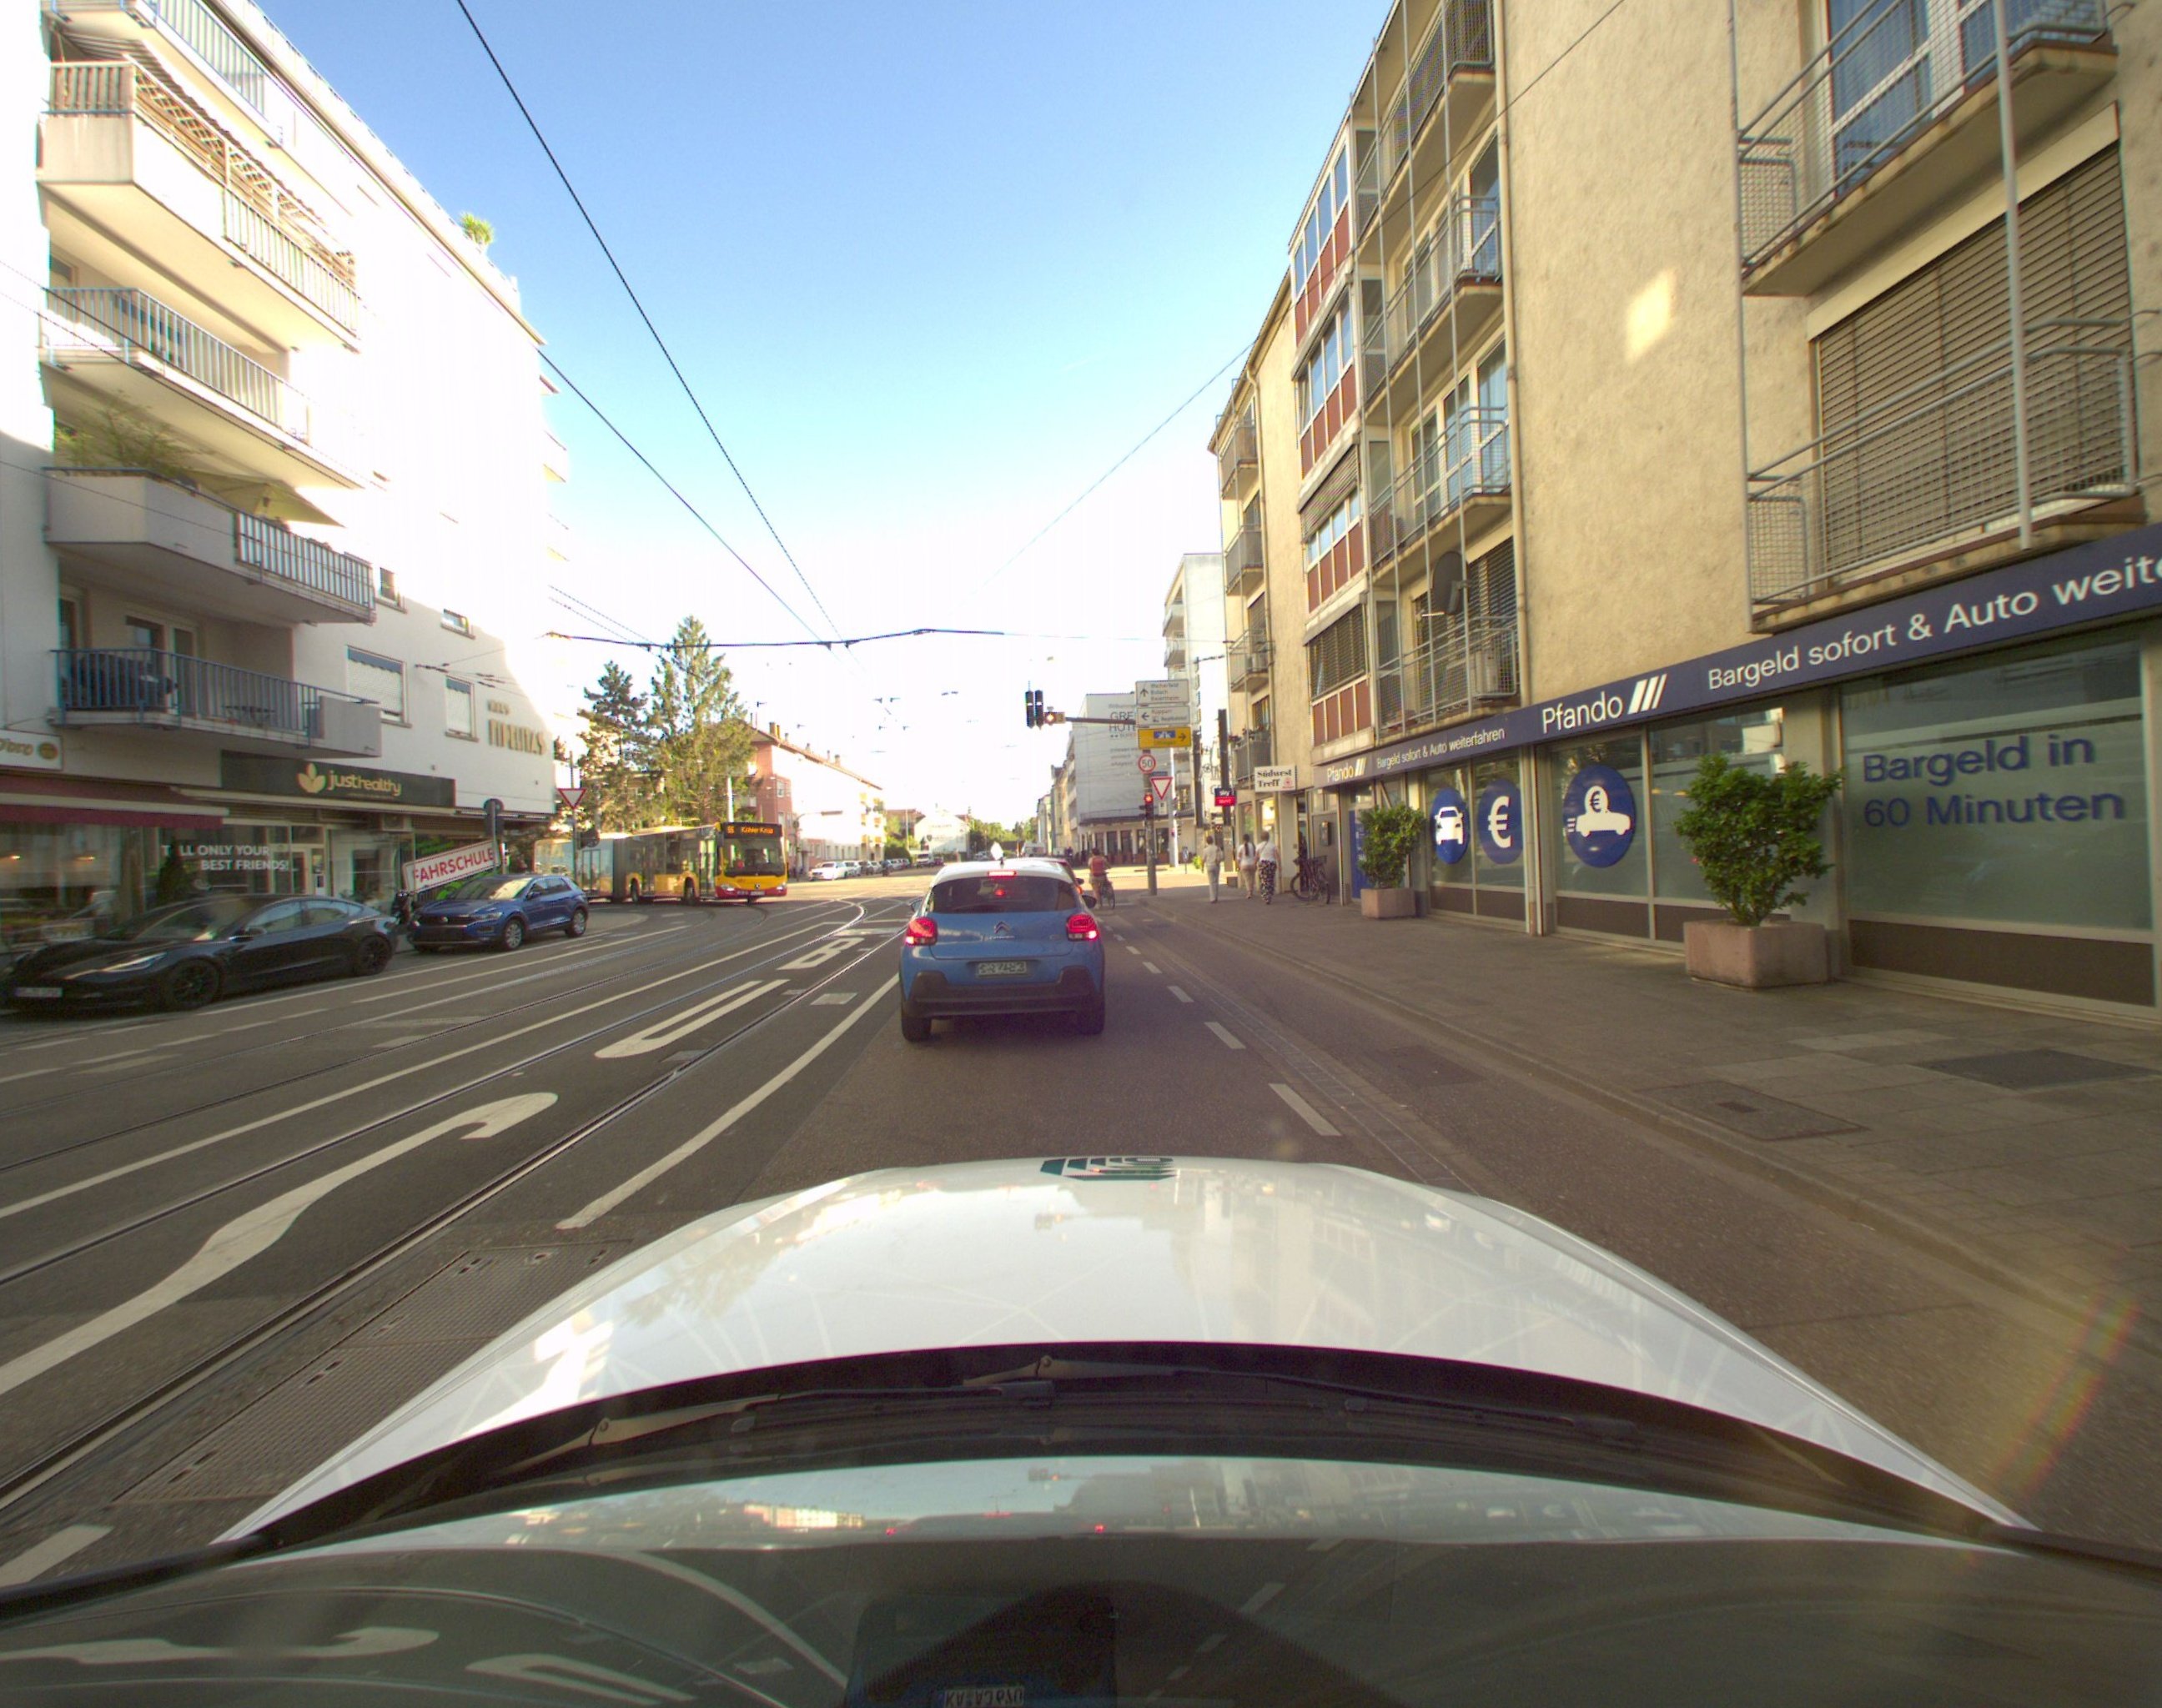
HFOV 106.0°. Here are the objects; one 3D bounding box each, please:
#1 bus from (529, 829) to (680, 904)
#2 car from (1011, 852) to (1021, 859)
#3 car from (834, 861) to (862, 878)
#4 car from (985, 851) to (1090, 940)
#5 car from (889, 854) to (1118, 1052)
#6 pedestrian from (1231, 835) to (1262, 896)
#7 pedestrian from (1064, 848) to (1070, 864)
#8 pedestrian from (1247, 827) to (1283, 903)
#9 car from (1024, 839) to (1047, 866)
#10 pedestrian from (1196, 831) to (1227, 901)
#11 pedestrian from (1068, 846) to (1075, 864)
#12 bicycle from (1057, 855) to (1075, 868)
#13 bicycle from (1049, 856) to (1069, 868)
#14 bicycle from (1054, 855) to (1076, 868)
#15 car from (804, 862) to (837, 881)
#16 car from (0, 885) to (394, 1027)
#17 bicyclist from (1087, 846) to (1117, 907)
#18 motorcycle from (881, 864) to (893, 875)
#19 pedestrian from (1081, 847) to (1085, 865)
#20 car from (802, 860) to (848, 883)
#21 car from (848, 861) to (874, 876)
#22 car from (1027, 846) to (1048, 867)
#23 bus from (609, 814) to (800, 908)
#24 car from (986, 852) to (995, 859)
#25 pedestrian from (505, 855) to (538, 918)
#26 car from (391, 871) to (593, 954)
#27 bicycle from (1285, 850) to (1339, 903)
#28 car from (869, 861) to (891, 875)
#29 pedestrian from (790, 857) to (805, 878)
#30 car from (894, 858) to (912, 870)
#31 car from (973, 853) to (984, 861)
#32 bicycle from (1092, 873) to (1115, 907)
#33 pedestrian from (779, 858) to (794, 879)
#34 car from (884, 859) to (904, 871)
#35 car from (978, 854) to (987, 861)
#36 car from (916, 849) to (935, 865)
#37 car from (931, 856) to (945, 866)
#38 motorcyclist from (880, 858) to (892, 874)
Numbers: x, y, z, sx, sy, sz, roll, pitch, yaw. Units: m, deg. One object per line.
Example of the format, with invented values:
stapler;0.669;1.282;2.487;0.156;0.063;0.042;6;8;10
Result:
bus;-21.984;0.617;37.422;7.479;3.161;2.764;-2;0;33
car;-13.160;0.272;164.667;1.754;1.259;3.822;-2;0;-8
car;-23.085;1.481;80.822;1.908;1.497;3.993;-3;0;-5
car;-0.756;0.693;15.798;1.733;1.420;3.999;-2;0;-1
car;-0.809;0.755;8.280;1.742;1.462;3.991;-1;0;-7
pedestrian;4.237;0.281;20.891;0.540;1.507;0.610;-4;2;-3
pedestrian;-1.398;0.164;79.632;0.491;1.556;0.646;-3;0;-7
pedestrian;4.219;0.251;18.677;0.540;1.672;0.649;-4;0;-3
car;-4.196;-0.126;74.467;1.990;2.325;3.994;-1;0;-4
pedestrian;3.195;0.284;20.002;0.540;1.672;0.623;-4;2;-3
pedestrian;-0.859;0.101;73.475;0.490;1.556;0.383;-3;0;-4
bicycle;-1.248;0.629;68.075;1.498;0.957;0.702;-3;0;0
bicycle;-1.888;0.650;70.481;1.714;0.957;0.702;-3;0;0
bicycle;-1.351;0.631;69.133;1.867;0.957;0.702;-3;0;0
car;-22.480;1.510;70.485;1.909;1.433;3.991;-3;0;-6
car;-12.459;1.281;11.684;1.696;1.509;4.306;-1;0;-3
bicyclist;0.568;0.606;22.413;0.724;1.646;0.790;-2;0;-1
motorcycle;-16.465;1.299;69.058;0.614;0.864;1.670;-3;0;-1
pedestrian;0.180;0.168;72.238;0.284;1.556;0.304;-3;0;-10
car;-19.790;1.341;63.234;1.841;1.574;4.407;-2;0;4
car;-23.604;1.561;87.593;1.908;1.497;3.993;-3;0;-5
car;-3.703;0.202;69.562;1.729;1.750;3.209;-1;0;-4
bus;-14.992;0.338;31.848;10.064;3.158;2.748;-2;0;41
car;-24.130;0.442;217.116;1.994;1.684;3.986;-3;0;-10
pedestrian;-18.378;1.068;26.764;0.686;2.013;0.485;-2;0;-7
car;-12.578;1.168;17.733;1.742;1.509;3.992;-1;0;-5
bicycle;5.060;0.467;17.940;0.529;1.072;1.808;-2;0;-4
car;-24.515;1.691;99.283;1.908;1.497;3.993;-3;0;-5
pedestrian;-23.774;1.155;68.302;0.840;1.690;0.737;-2;0;2
car;-25.714;1.437;117.753;1.867;1.574;3.994;-2;0;-4
car;-21.460;0.674;171.075;2.018;1.525;3.993;-2;0;-5
bicycle;0.616;0.988;22.818;0.497;0.864;1.747;-2;0;-3
pedestrian;-24.649;1.177;68.175;0.840;1.690;0.737;-2;0;2
car;-24.692;1.450;107.683;1.908;1.497;3.993;-3;0;-5
car;-22.770;0.792;188.332;2.018;1.525;3.993;-3;0;-5
car;-23.081;0.488;120.926;2.203;2.251;4.669;-3;0;-5
car;-25.660;1.258;146.361;2.018;1.525;3.993;-2;0;-5
motorcyclist;-16.465;1.012;68.903;0.717;1.378;0.911;-2;0;-1
